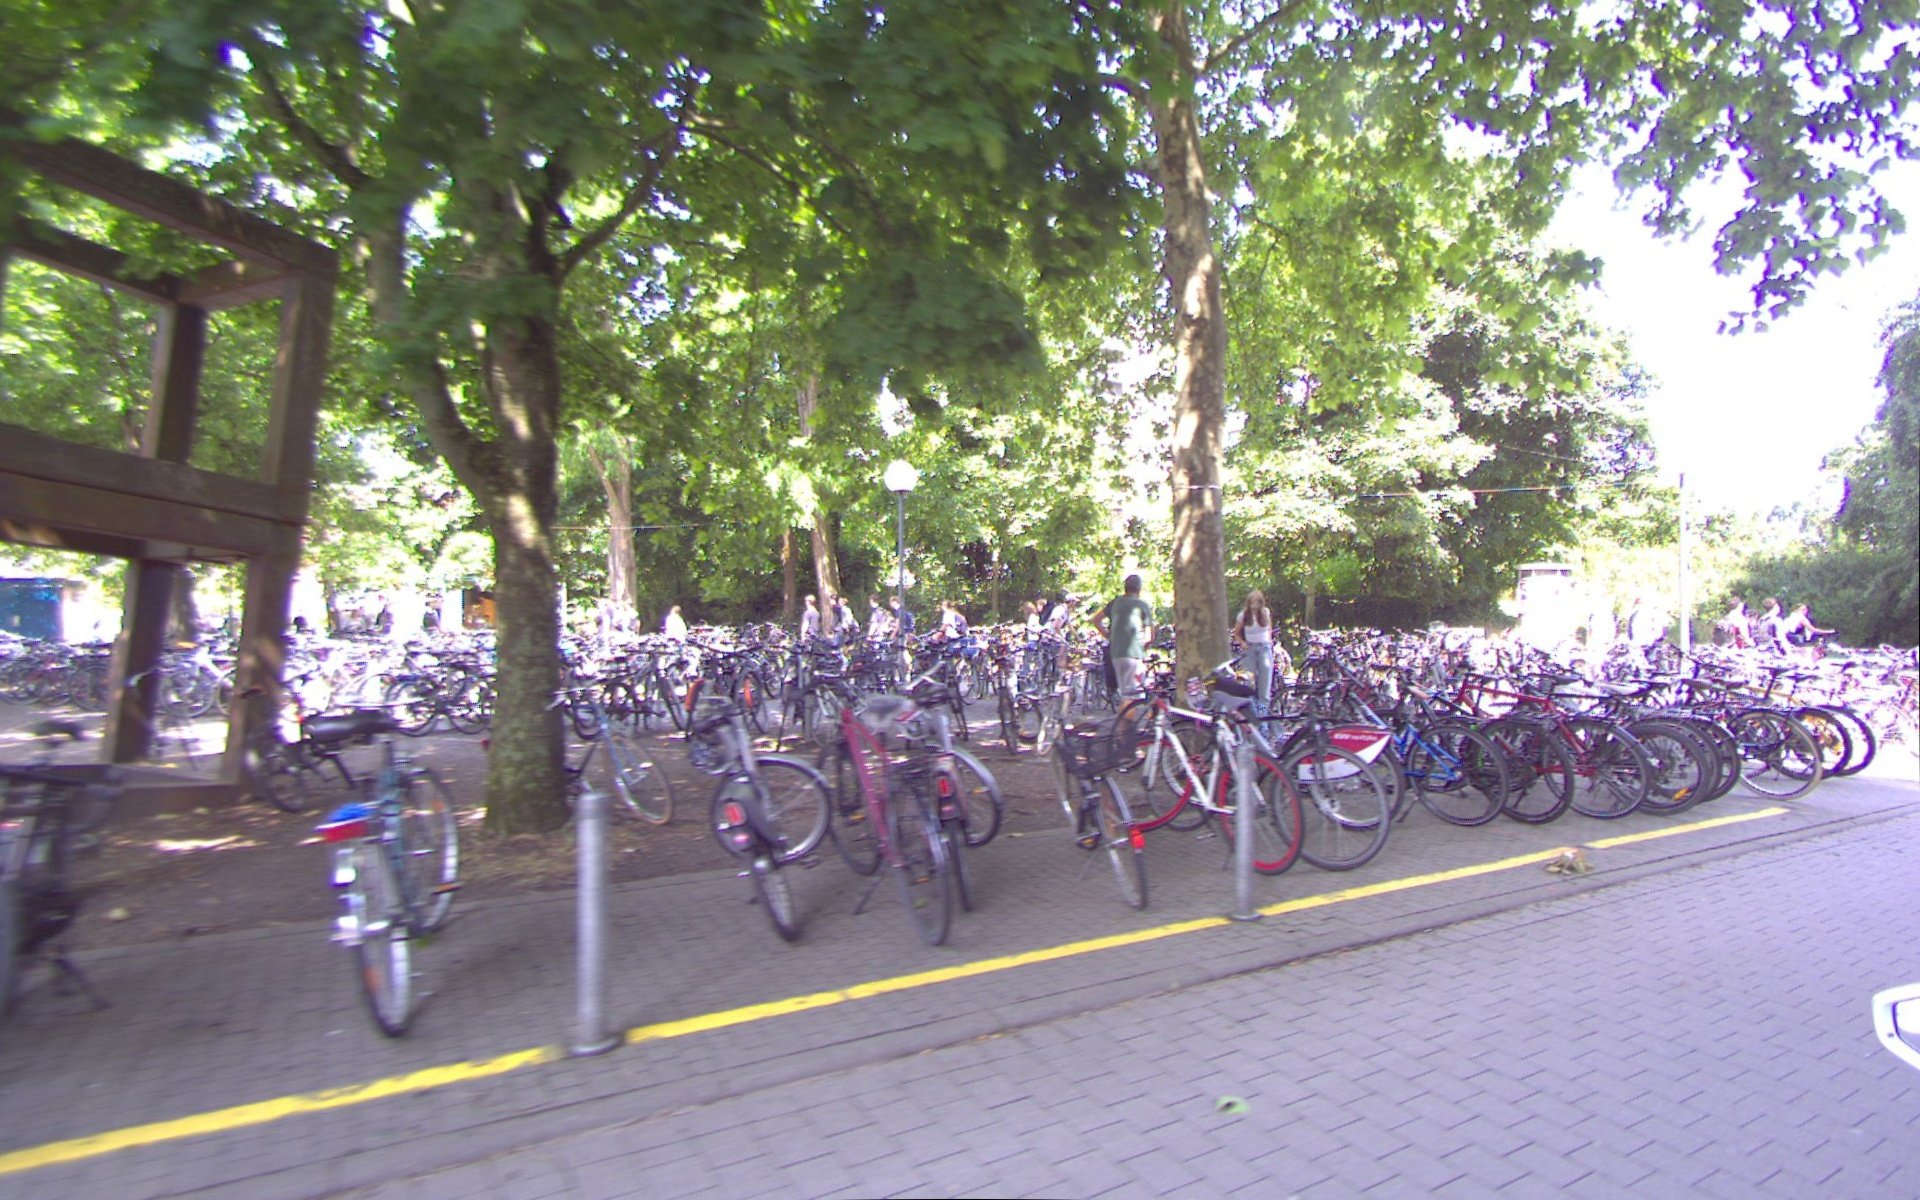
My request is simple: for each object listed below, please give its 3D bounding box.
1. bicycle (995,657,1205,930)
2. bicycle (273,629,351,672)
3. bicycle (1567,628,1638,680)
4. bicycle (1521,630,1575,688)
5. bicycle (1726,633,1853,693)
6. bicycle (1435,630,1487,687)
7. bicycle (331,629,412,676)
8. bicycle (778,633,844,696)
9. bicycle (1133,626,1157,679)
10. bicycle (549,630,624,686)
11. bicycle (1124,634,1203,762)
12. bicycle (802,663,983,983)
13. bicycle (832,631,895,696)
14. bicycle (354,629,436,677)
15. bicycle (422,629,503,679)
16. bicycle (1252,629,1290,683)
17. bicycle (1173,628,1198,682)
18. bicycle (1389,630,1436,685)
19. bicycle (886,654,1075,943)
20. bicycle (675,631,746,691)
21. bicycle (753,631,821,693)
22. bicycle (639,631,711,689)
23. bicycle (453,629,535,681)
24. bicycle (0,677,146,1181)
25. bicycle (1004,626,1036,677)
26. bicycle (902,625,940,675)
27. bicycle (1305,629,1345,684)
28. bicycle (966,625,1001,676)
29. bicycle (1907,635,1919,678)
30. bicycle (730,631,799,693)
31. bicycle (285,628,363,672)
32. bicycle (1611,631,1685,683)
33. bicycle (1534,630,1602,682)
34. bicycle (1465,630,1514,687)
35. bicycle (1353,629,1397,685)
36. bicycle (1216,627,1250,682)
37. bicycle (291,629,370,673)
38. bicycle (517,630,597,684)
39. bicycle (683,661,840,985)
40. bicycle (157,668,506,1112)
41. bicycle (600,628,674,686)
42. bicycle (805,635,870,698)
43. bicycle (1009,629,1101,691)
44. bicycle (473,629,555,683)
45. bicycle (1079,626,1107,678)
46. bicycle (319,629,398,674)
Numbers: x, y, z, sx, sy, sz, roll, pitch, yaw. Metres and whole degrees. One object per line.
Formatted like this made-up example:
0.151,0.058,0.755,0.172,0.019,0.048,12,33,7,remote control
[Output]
0.661,0.911,5.353,0.564,1.123,1.737,1,0,-11,bicycle
-17.145,1.317,26.617,0.466,1.098,1.696,1,0,30,bicycle
14.941,1.231,23.413,0.465,1.125,1.778,1,0,-1,bicycle
12.335,1.217,21.122,0.464,1.125,1.779,1,0,13,bicycle
16.357,1.224,19.861,1.877,1.061,0.540,1,0,36,bicycle
10.804,1.239,21.696,0.464,1.125,1.779,1,0,8,bicycle
-14.515,1.271,24.813,0.466,1.098,1.696,1,0,30,bicycle
-2.781,1.180,18.900,0.465,1.098,1.699,1,0,20,bicycle
4.214,1.178,22.833,0.507,1.125,1.779,1,0,11,bicycle
-7.796,1.188,21.026,0.465,1.098,1.699,1,0,20,bicycle
2.200,0.987,10.708,0.564,1.215,1.699,1,0,20,bicycle
-0.377,0.897,4.651,0.489,1.123,1.624,1,0,-16,bicycle
-1.760,1.148,18.569,0.465,1.098,1.699,1,0,20,bicycle
-13.606,1.258,24.234,0.466,1.098,1.696,1,0,30,bicycle
-11.506,1.236,23.286,0.466,1.098,1.696,1,0,30,bicycle
6.950,1.229,22.501,0.507,1.125,1.779,1,0,8,bicycle
5.073,1.213,22.631,0.507,1.125,1.779,1,0,11,bicycle
9.951,1.248,22.129,0.464,1.125,1.779,1,0,8,bicycle
0.039,0.894,5.142,0.489,1.159,1.624,1,0,-16,bicycle
-4.869,1.166,19.710,0.465,1.098,1.699,1,0,20,bicycle
-3.260,1.146,19.035,0.465,1.098,1.699,1,0,20,bicycle
-5.703,1.179,20.182,0.465,1.098,1.699,1,0,20,bicycle
-10.470,1.222,22.634,0.466,1.098,1.696,1,0,30,bicycle
-2.877,0.852,3.050,0.492,1.123,1.614,1,0,-35,bicycle
1.430,1.190,23.758,0.507,1.125,1.779,1,0,11,bicycle
-0.927,1.179,24.258,0.507,1.125,1.779,1,0,11,bicycle
7.981,1.209,22.030,0.464,1.125,1.779,1,0,8,bicycle
0.582,1.183,23.875,0.507,1.125,1.779,1,0,11,bicycle
24.116,1.424,24.751,0.465,1.061,1.700,1,0,19,bicycle
-3.725,1.153,19.228,0.465,1.098,1.699,1,0,20,bicycle
-16.642,1.297,26.317,0.466,1.098,1.696,1,0,30,bicycle
15.993,1.309,23.399,0.465,1.125,1.778,1,0,-1,bicycle
14.079,1.272,23.299,0.465,1.125,1.778,1,0,-1,bicycle
11.319,1.226,21.512,0.464,1.125,1.779,1,0,13,bicycle
8.991,1.220,21.816,0.464,1.125,1.779,1,0,8,bicycle
6.090,1.194,22.466,0.507,1.125,1.779,1,0,8,bicycle
-16.260,1.301,25.979,0.466,1.098,1.696,1,0,30,bicycle
-8.622,1.201,21.546,0.465,1.098,1.698,1,0,26,bicycle
-0.966,0.887,4.615,0.553,1.123,1.624,1,0,-16,bicycle
-2.165,0.868,3.718,0.708,1.123,1.719,1,0,-19,bicycle
-6.597,1.145,20.592,0.465,1.098,1.699,1,0,20,bicycle
-2.286,1.225,18.882,0.465,1.098,1.699,1,0,20,bicycle
1.807,1.125,19.029,1.665,1.098,0.604,1,0,12,bicycle
-9.735,1.202,21.982,0.466,1.098,1.696,1,0,30,bicycle
3.104,1.178,23.383,0.507,1.125,1.779,1,0,11,bicycle
-15.272,1.291,25.528,0.466,1.098,1.696,1,0,30,bicycle
